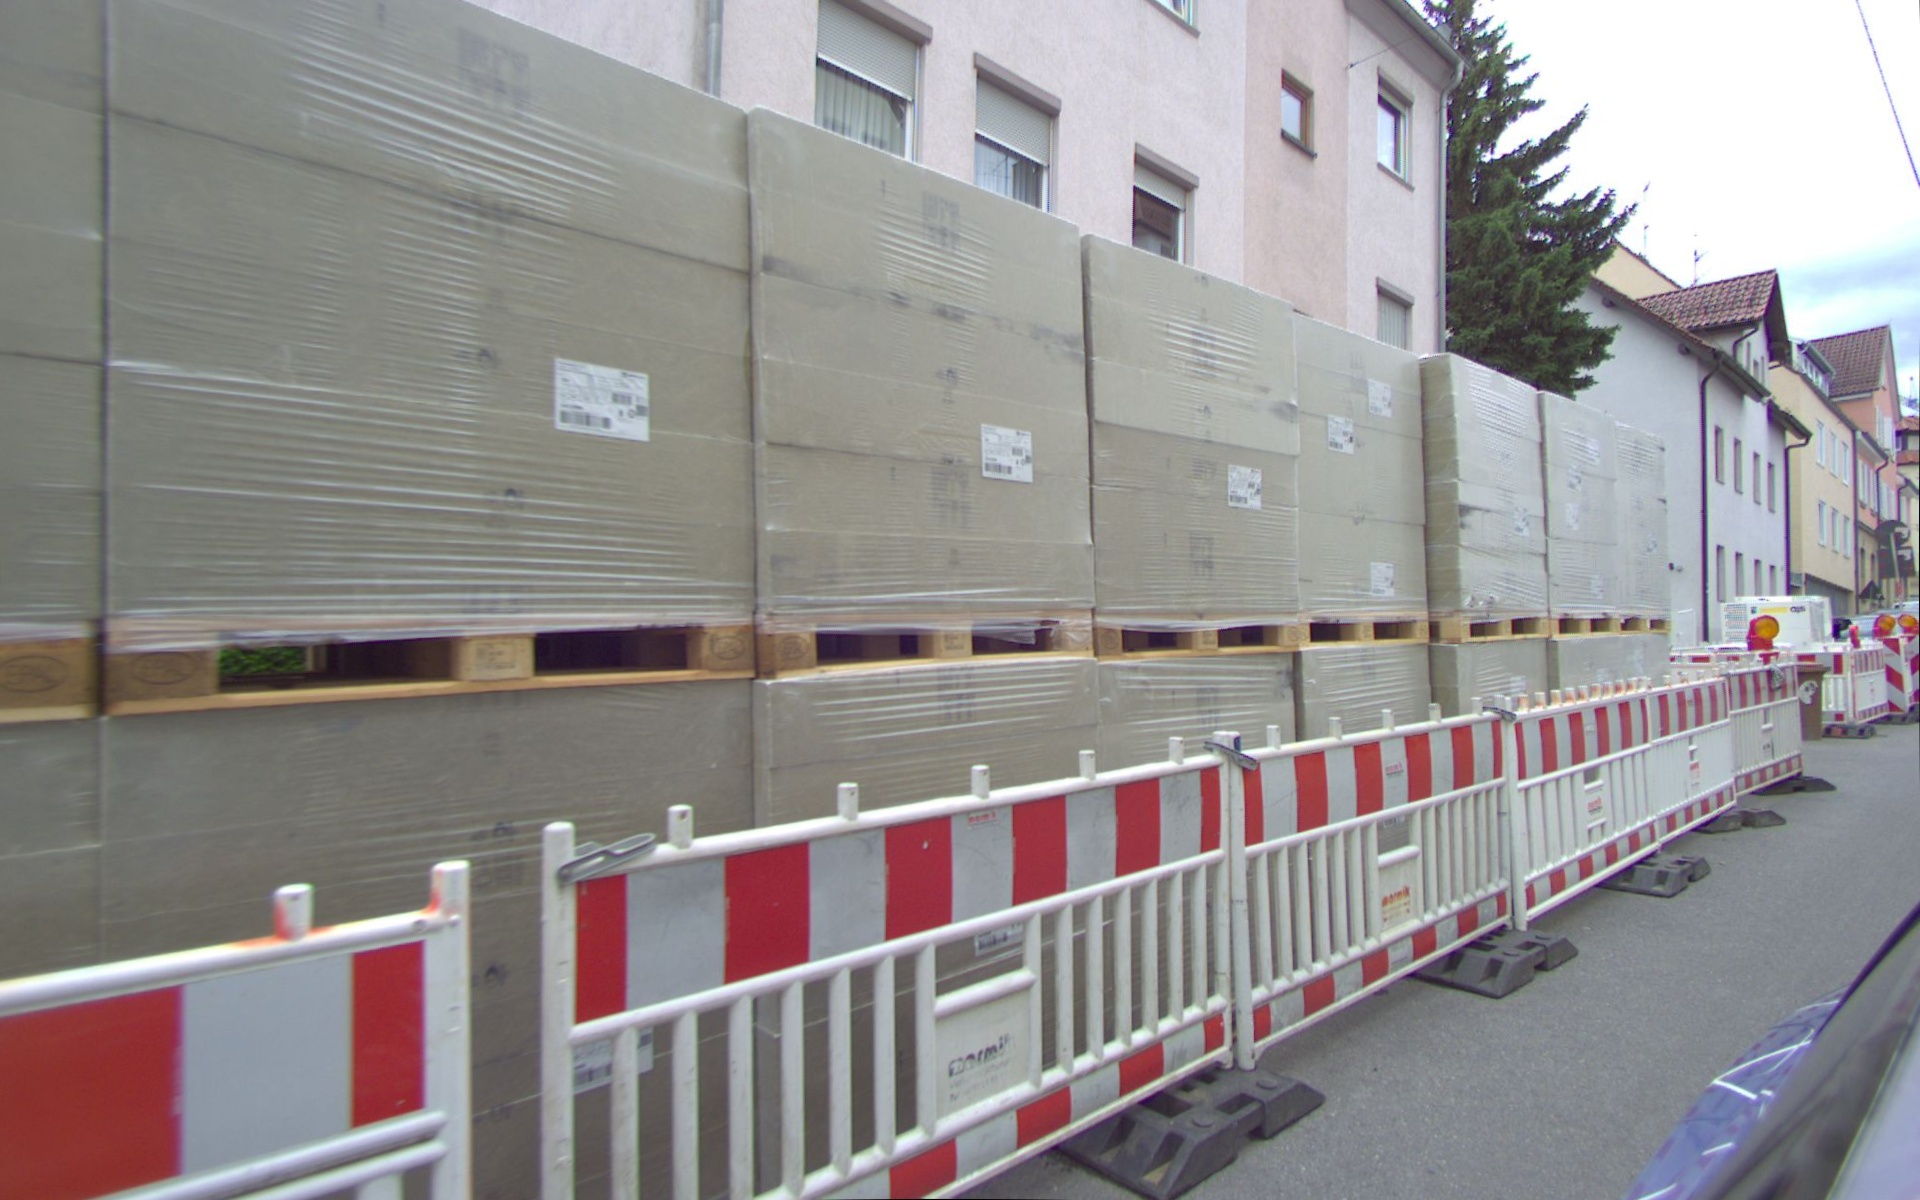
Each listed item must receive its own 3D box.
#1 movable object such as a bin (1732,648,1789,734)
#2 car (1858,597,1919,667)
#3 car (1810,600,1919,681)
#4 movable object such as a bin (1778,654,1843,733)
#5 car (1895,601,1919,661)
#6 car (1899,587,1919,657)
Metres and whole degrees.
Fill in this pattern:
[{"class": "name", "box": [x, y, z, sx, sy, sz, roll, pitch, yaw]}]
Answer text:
[{"class": "movable object such as a bin", "box": [9.657, 1.087, 12.219, 0.445, 0.990, 0.397, 1, -2, 25]}, {"class": "car", "box": [23.918, 0.793, 25.284, 4.421, 1.617, 1.714, 1, -4, -43]}, {"class": "car", "box": [19.755, 0.856, 21.646, 4.001, 1.586, 1.717, 1, -4, -41]}, {"class": "movable object such as a bin", "box": [10.079, 1.100, 11.999, 0.356, 0.904, 0.401, -1, -3, -3]}, {"class": "car", "box": [27.175, 0.836, 28.088, 2.743, 1.617, 1.488, 1, -4, -42]}, {"class": "car", "box": [30.838, 0.657, 31.374, 5.633, 2.056, 1.907, 1, -4, -41]}]
